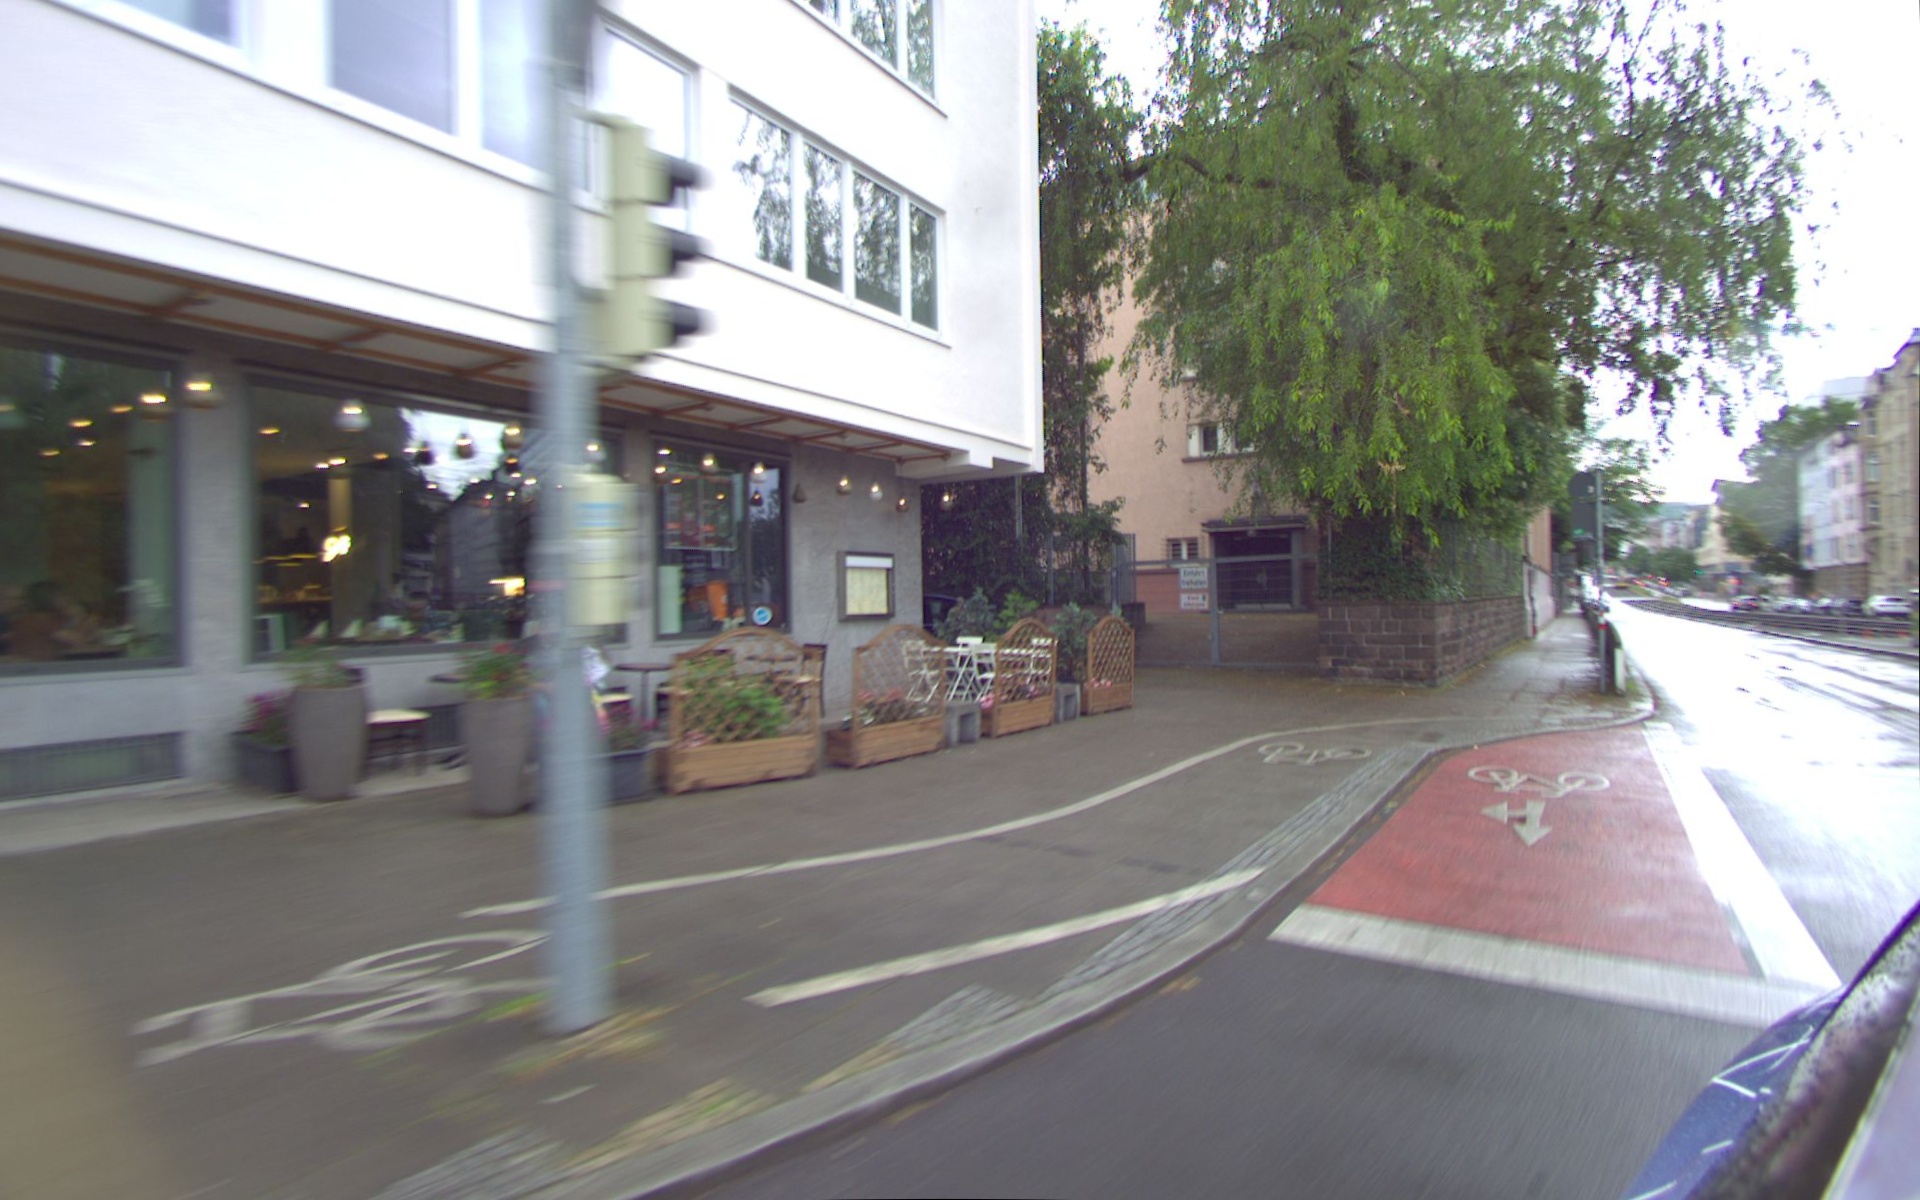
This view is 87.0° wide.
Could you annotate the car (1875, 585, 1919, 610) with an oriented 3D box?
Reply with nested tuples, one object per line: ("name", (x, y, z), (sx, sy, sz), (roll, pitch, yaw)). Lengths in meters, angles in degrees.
("car", (63.918, -0.183, 68.513), (1.985, 1.555, 4.696), (3, 2, 31))

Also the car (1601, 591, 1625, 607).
("car", (64.313, -0.085, 99.697), (1.774, 1.549, 4.199), (-1, 0, 30))

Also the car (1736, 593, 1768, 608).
("car", (84.680, 0.046, 108.223), (1.929, 1.555, 4.305), (3, 2, 29))

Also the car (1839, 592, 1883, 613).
("car", (69.881, 0.175, 78.543), (1.729, 1.474, 4.124), (3, 2, 31))

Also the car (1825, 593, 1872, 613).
("car", (72.804, 0.240, 83.007), (1.985, 1.474, 4.966), (3, 2, 31))

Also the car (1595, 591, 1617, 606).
("car", (66.783, -0.159, 104.668), (1.746, 1.549, 4.286), (-1, 0, 31))

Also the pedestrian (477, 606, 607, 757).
("pedestrian", (-3.643, 0.671, 8.823), (0.926, 1.206, 0.628), (2, 1, 33))

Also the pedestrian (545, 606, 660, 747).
("pedestrian", (-3.309, 0.675, 9.357), (0.912, 1.206, 0.562), (2, 1, 33))

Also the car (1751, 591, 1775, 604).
("car", (99.266, -0.269, 125.123), (1.831, 1.560, 4.178), (1, 1, 33))

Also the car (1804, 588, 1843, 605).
("car", (78.397, -0.338, 91.966), (1.986, 1.414, 4.963), (3, 2, 33))

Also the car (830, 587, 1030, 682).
("car", (-0.557, 0.539, 18.168), (3.173, 1.525, 1.780), (1, 1, 34))

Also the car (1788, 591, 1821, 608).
("car", (84.534, -0.069, 101.314), (1.829, 1.625, 4.182), (1, 1, 31))
